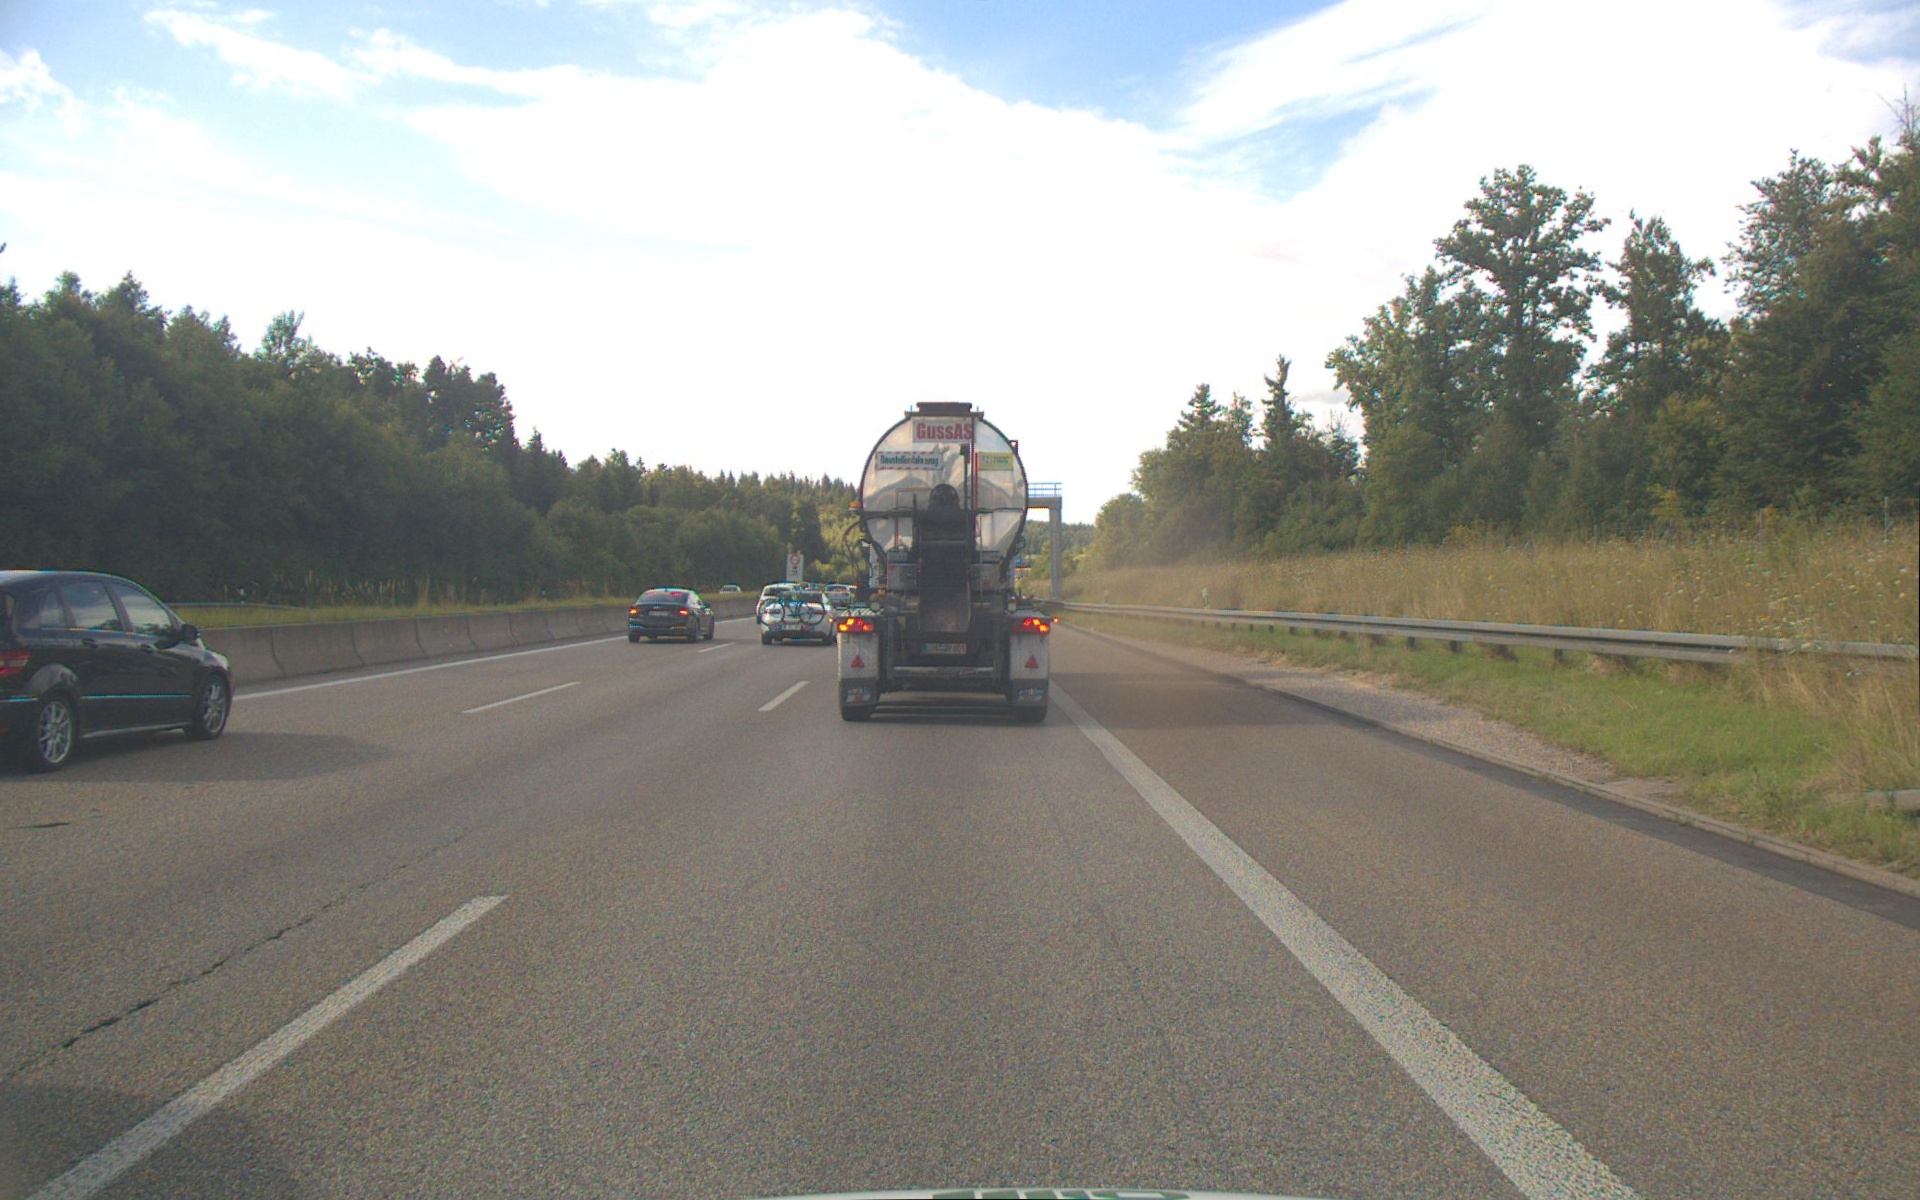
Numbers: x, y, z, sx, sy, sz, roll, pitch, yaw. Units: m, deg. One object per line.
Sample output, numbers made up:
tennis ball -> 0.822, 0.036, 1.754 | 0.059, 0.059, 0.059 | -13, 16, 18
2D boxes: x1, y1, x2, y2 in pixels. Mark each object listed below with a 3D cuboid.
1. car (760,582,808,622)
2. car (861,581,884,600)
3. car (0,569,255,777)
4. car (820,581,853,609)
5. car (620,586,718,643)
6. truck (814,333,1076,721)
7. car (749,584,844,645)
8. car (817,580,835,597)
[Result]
car -> -7.043, 0.071, 66.296 | 1.585, 1.571, 3.519 | 1, 0, -1
car -> -7.909, -0.900, 149.064 | 1.903, 1.613, 4.206 | 1, 1, -1
car -> -7.958, 0.522, 14.416 | 1.798, 1.544, 4.333 | 0, 0, -1
car -> -7.680, -0.319, 103.107 | 1.770, 1.613, 4.206 | 1, 1, -1
car -> -7.744, 0.347, 44.408 | 1.818, 1.456, 4.840 | 0, 0, 0
truck -> -0.181, -0.846, 23.718 | 2.853, 4.230, 11.269 | 0, 0, 0
car -> -4.281, 0.333, 44.170 | 2.018, 1.525, 5.735 | 0, 0, 0
car -> -16.307, -1.445, 201.735 | 1.953, 2.049, 4.071 | 0, 0, -1
